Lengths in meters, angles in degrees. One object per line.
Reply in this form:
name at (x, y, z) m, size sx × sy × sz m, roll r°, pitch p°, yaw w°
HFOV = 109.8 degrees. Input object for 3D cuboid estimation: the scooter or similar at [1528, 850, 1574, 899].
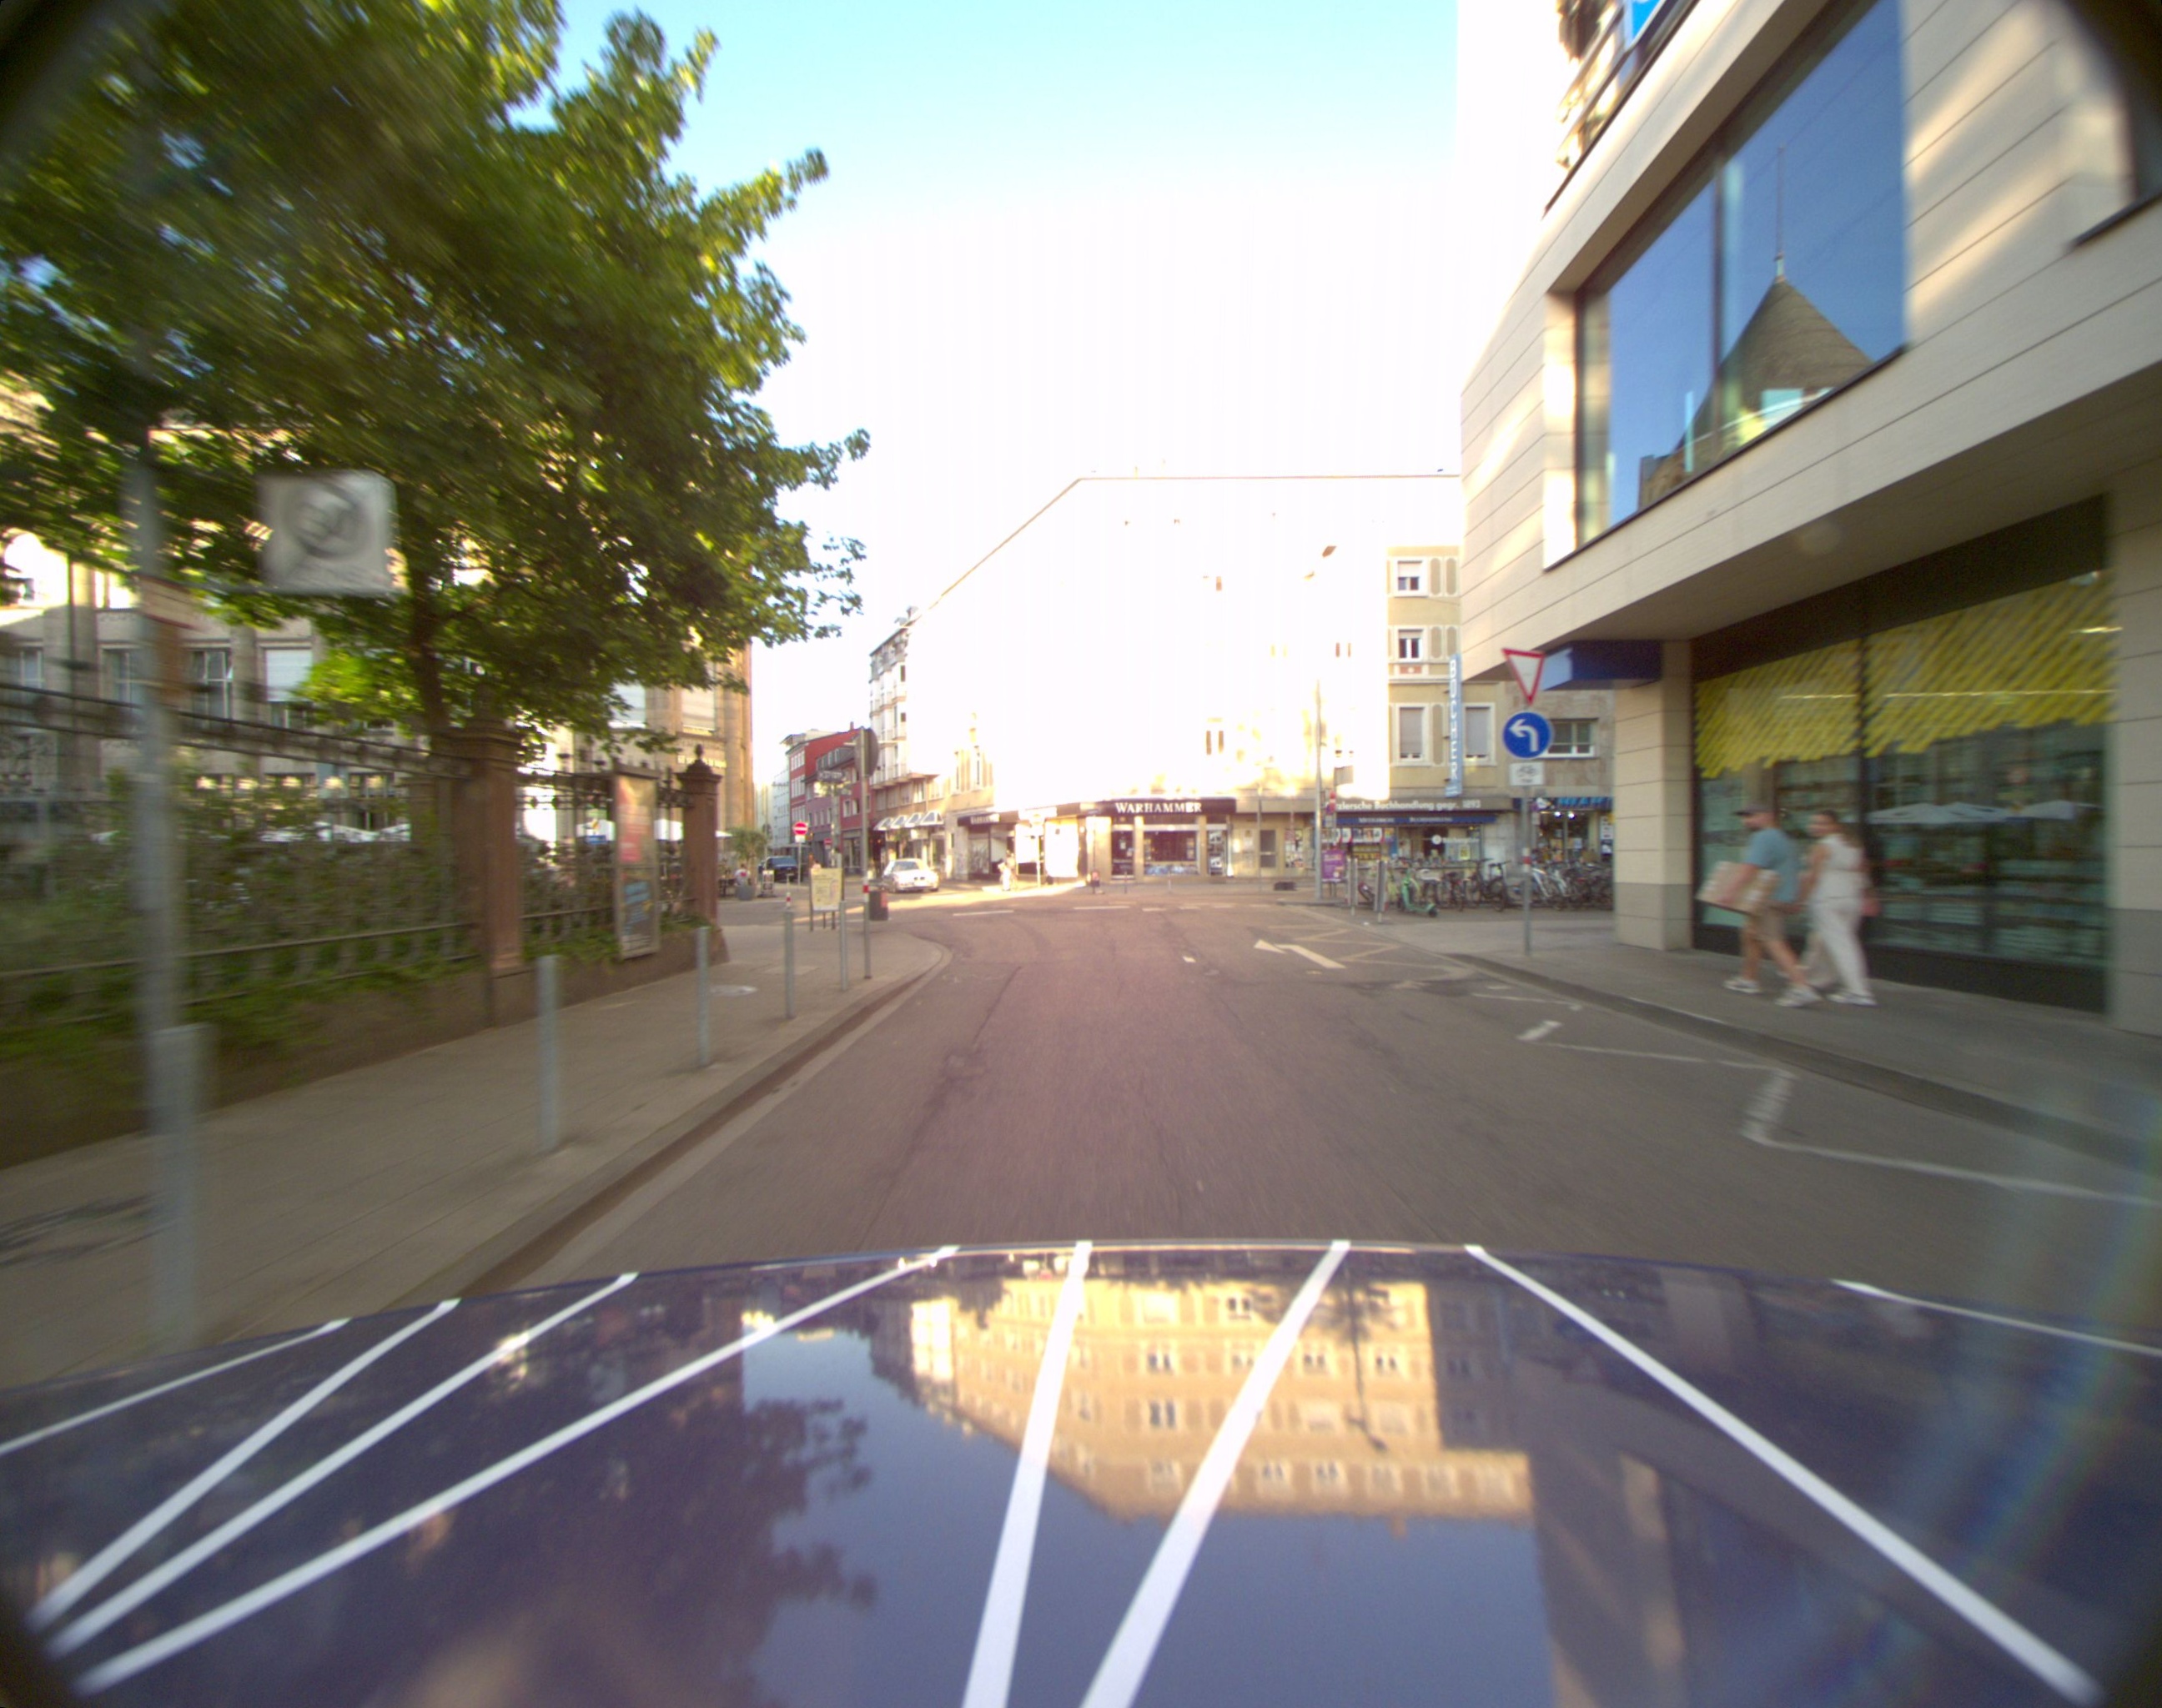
scooter or similar at (12.059, 0.500, 19.524) m, size 0.387 × 1.205 × 1.270 m, roll -1°, pitch 1°, yaw -1°

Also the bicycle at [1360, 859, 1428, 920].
bicycle at (7.039, 0.755, 17.192) m, size 0.582 × 1.248 × 2.043 m, roll -1°, pitch 1°, yaw -3°

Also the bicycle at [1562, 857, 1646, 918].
bicycle at (11.781, 0.711, 17.202) m, size 0.513 × 1.248 × 1.978 m, roll -1°, pitch 1°, yaw -1°

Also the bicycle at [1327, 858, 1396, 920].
bicycle at (6.272, 0.746, 17.114) m, size 0.666 × 1.248 × 2.139 m, roll -1°, pitch 1°, yaw -3°

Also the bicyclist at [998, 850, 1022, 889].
bicyclist at (-2.956, 0.622, 31.566) m, size 0.661 × 1.561 × 0.861 m, roll -2°, pitch 2°, yaw -30°

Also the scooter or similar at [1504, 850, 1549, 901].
scooter or similar at (11.474, 0.522, 19.584) m, size 0.387 × 1.253 × 1.270 m, roll -1°, pitch 1°, yaw -1°

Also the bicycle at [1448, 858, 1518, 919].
bicycle at (9.058, 0.742, 17.215) m, size 0.513 × 1.248 × 1.978 m, roll -1°, pitch 1°, yaw -1°

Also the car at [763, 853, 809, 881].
car at (-20.008, 0.861, 51.414) m, size 2.003 × 1.773 × 4.922 m, roll -1°, pitch 0°, yaw -32°

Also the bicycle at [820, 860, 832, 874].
bicycle at (-21.835, 1.098, 64.986) m, size 0.546 × 1.185 × 1.837 m, roll -2°, pitch 1°, yaw -31°

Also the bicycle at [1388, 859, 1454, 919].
bicycle at (7.677, 0.758, 17.265) m, size 0.513 × 1.248 × 1.978 m, roll -1°, pitch 1°, yaw -3°

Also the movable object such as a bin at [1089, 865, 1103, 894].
movable object such as a bin at (0.568, 0.944, 28.486) m, size 0.361 × 1.057 × 0.355 m, roll -2°, pitch 1°, yaw -41°

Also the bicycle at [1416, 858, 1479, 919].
bicycle at (8.300, 0.746, 17.296) m, size 0.513 × 1.248 × 1.978 m, roll -1°, pitch 1°, yaw 1°

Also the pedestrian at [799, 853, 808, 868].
pedestrian at (-27.011, 0.637, 73.891) m, size 0.613 × 1.464 × 0.546 m, roll -2°, pitch 2°, yaw -39°

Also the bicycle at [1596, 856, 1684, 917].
bicycle at (12.546, 0.704, 17.128) m, size 0.513 × 1.248 × 1.978 m, roll -1°, pitch 1°, yaw -1°

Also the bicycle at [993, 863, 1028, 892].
bicycle at (-2.943, 0.952, 31.560) m, size 0.667 × 1.132 × 1.817 m, roll -2°, pitch 1°, yaw -31°

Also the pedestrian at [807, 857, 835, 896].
pedestrian at (-10.983, 0.954, 32.094) m, size 0.732 × 1.603 × 0.806 m, roll 0°, pitch 1°, yaw 30°

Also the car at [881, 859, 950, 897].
car at (-6.902, 0.925, 31.275) m, size 2.002 × 1.414 × 4.450 m, roll -1°, pitch 0°, yaw -22°

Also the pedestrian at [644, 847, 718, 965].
pedestrian at (-6.057, 0.754, 11.500) m, size 0.843 × 1.713 × 0.639 m, roll 0°, pitch 1°, yaw 35°

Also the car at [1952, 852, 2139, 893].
car at (34.905, 0.656, 27.575) m, size 4.620 × 1.383 × 1.863 m, roll -1°, pitch 0°, yaw -3°

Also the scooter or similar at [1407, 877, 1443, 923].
scooter or similar at (7.123, 0.948, 15.756) m, size 0.387 × 0.879 × 0.770 m, roll -1°, pitch 1°, yaw -1°

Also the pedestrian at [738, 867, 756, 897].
pedestrian at (-13.478, 1.111, 30.663) m, size 0.608 × 1.182 × 0.820 m, roll -1°, pitch 1°, yaw -20°

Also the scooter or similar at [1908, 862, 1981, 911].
scooter or similar at (22.720, 0.854, 19.997) m, size 1.269 × 1.235 × 0.516 m, roll -1°, pitch 2°, yaw 3°

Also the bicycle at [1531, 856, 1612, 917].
bicycle at (11.064, 0.705, 17.221) m, size 0.513 × 1.248 × 1.978 m, roll -1°, pitch 1°, yaw -1°

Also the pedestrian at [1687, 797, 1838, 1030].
pedestrian at (5.636, 0.472, 6.318) m, size 0.674 × 1.826 × 0.647 m, roll -1°, pitch 1°, yaw -2°

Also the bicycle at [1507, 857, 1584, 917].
bicycle at (10.493, 0.713, 17.246) m, size 0.513 × 1.248 × 1.978 m, roll -1°, pitch 1°, yaw -1°

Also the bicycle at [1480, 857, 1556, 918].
bicycle at (9.845, 0.727, 17.195) m, size 0.513 × 1.248 × 1.978 m, roll -1°, pitch 1°, yaw -2°

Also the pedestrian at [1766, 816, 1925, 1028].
pedestrian at (6.325, 0.535, 6.319) m, size 0.674 × 1.665 × 0.647 m, roll -1°, pitch 1°, yaw -2°
